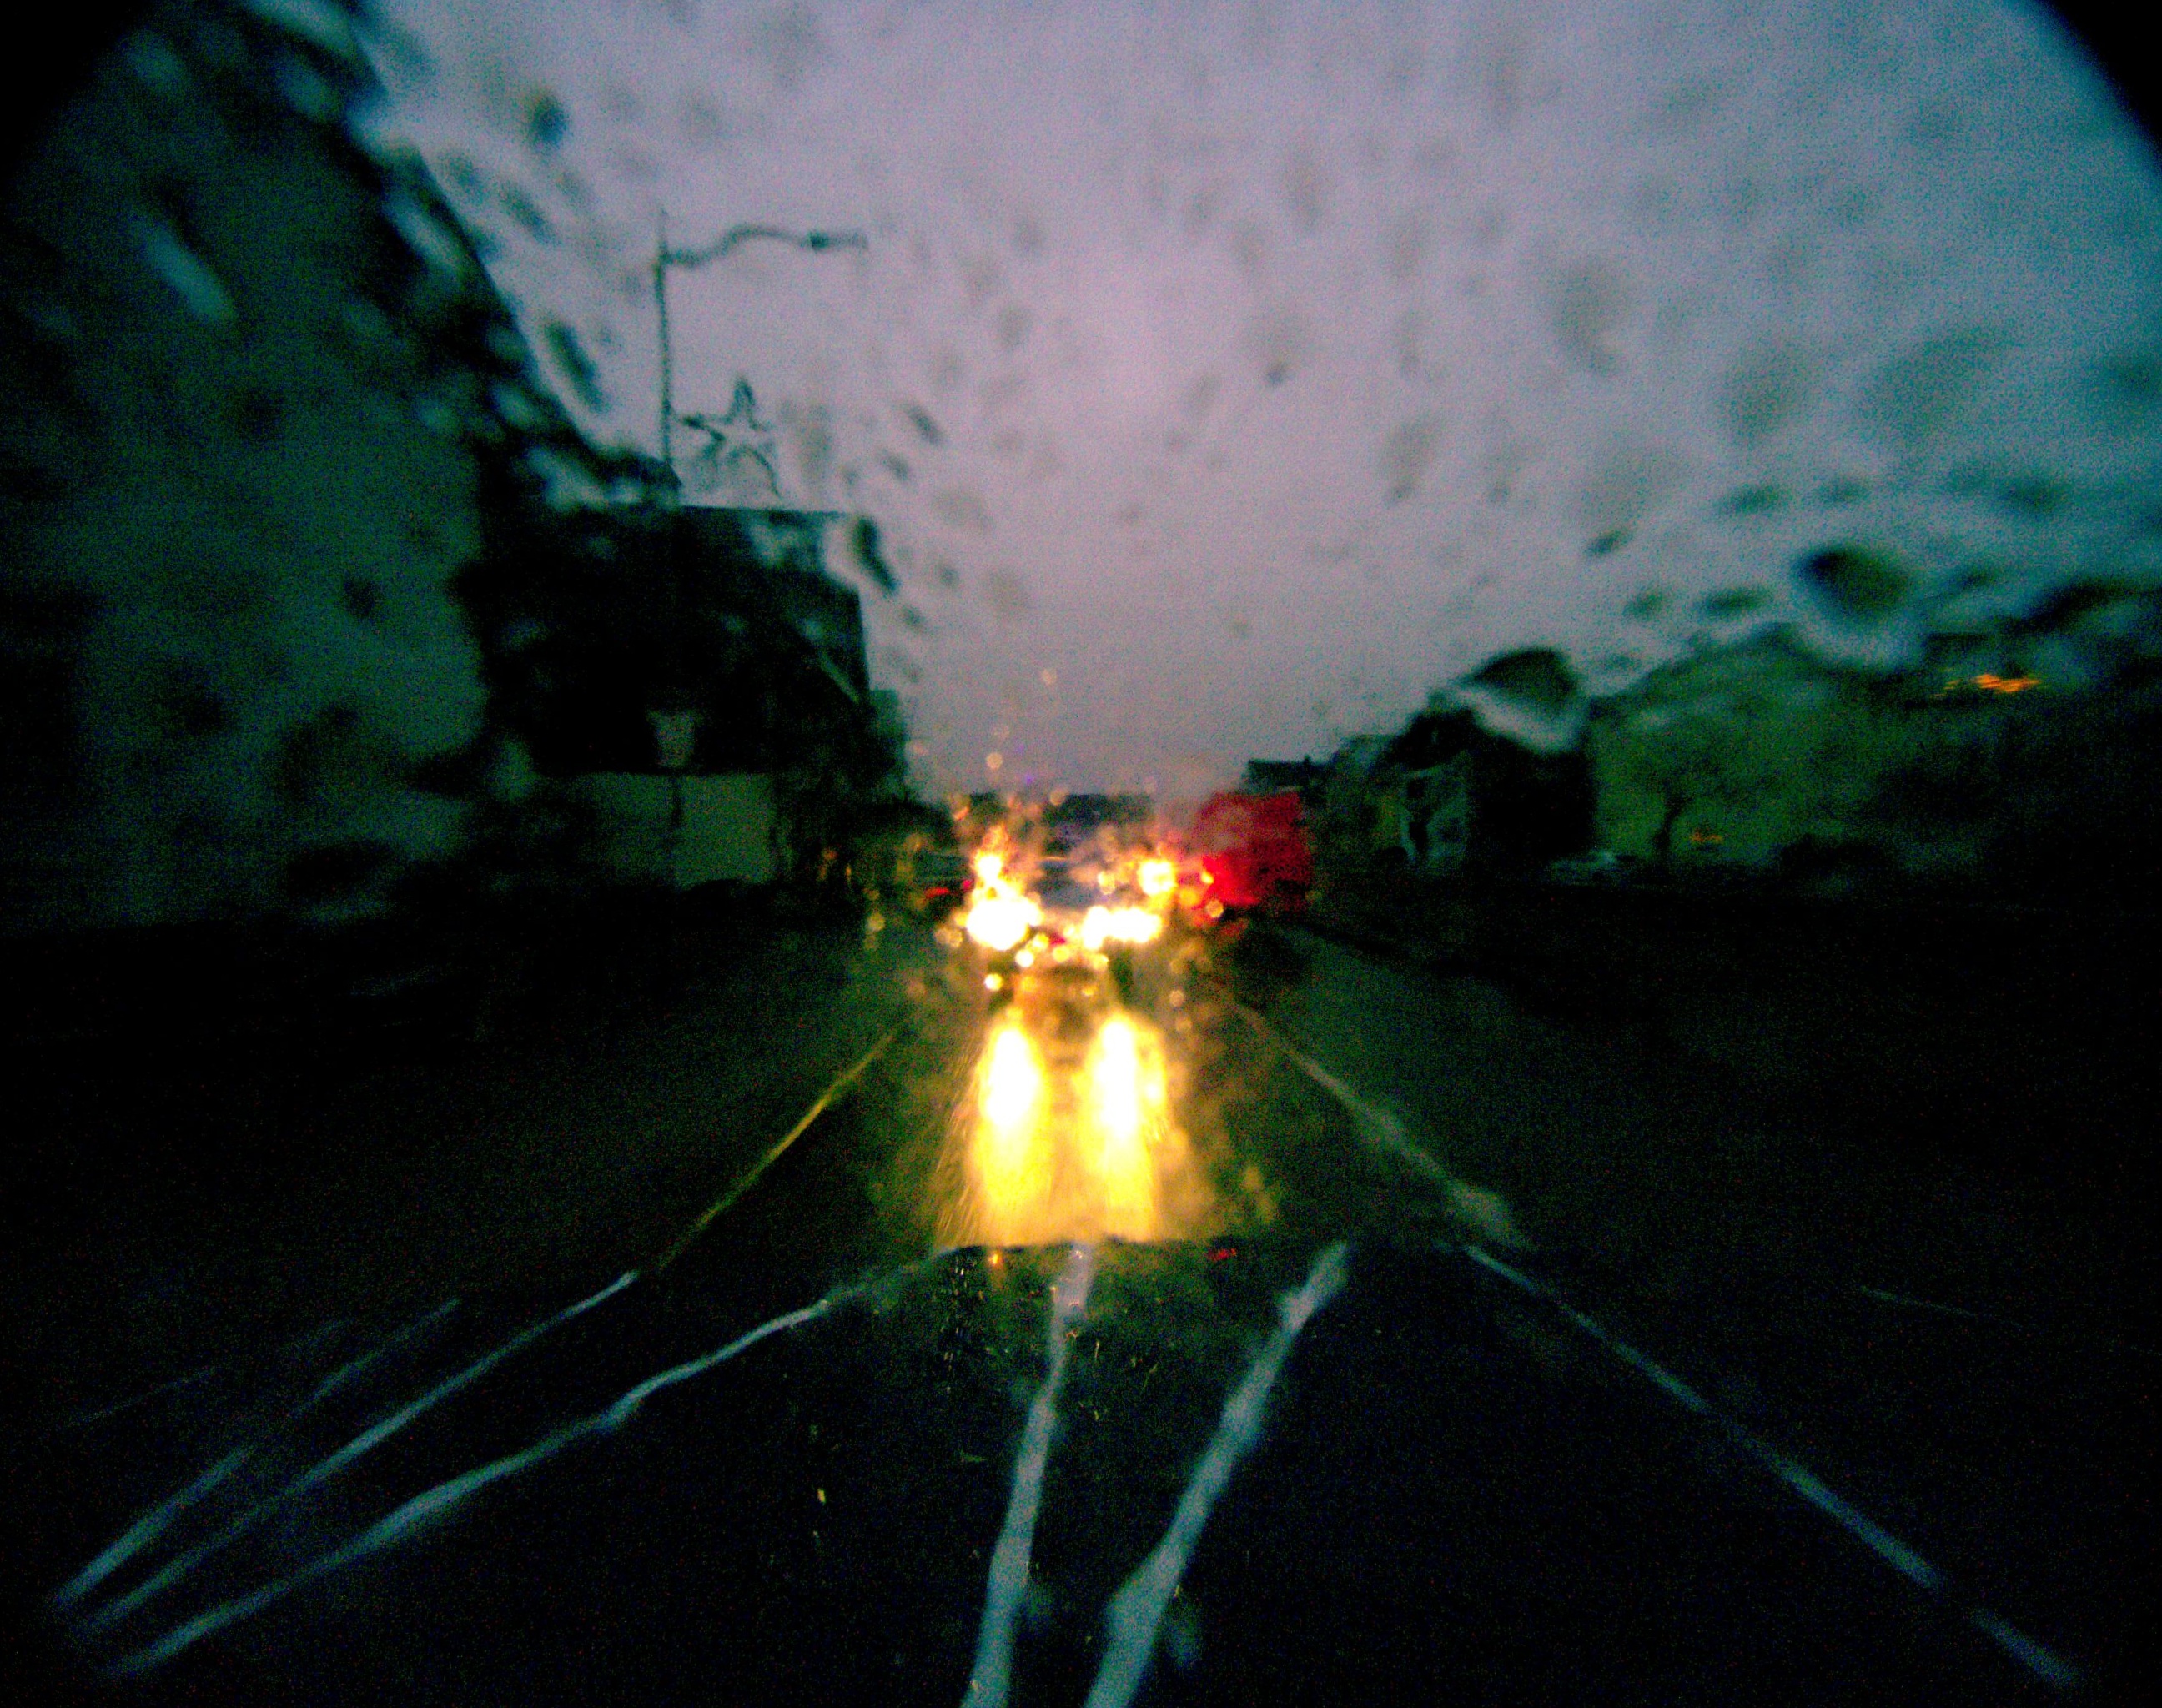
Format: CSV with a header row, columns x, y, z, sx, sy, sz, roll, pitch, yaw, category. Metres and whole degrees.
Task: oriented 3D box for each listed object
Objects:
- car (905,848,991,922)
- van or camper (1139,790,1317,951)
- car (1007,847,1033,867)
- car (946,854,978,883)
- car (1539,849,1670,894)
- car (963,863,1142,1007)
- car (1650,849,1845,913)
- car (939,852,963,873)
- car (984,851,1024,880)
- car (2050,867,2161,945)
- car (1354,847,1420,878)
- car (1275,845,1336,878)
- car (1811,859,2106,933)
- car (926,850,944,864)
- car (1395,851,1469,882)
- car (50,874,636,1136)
x,y,z,sx,sy,sz,roll,pitch,yaw,category
-3.535,0.770,20.815,1.774,1.771,3.999,2,0,-3,car
2.675,0.269,15.806,2.246,2.653,6.554,0,0,-2,van or camper
-5.220,0.282,64.693,1.669,1.626,3.546,-1,0,-14,car
-6.701,0.789,42.488,1.658,1.446,4.233,2,0,-10,car
20.137,0.652,29.496,1.879,1.589,4.223,1,0,-6,car
-0.274,0.958,10.721,1.998,1.526,4.000,-2,0,2,car
20.573,0.774,23.764,1.879,1.768,4.499,1,0,-6,car
-10.247,0.616,59.656,1.670,1.567,4.491,0,1,-13,car
-4.719,0.661,46.043,1.908,1.630,4.561,0,0,-13,car
21.242,0.999,13.622,1.879,1.425,4.500,1,0,-4,car
18.071,0.473,45.091,1.864,1.672,3.997,-3,1,-7,car
12.835,0.393,43.692,1.805,1.793,3.856,0,1,-11,car
21.058,0.927,18.605,1.879,1.563,4.500,1,0,-4,car
-16.741,0.365,86.922,1.814,1.555,4.299,0,1,-14,car
18.853,0.620,41.024,1.774,1.515,4.028,0,1,-7,car
-5.497,0.943,6.489,1.772,1.385,3.909,1,0,-12,car
